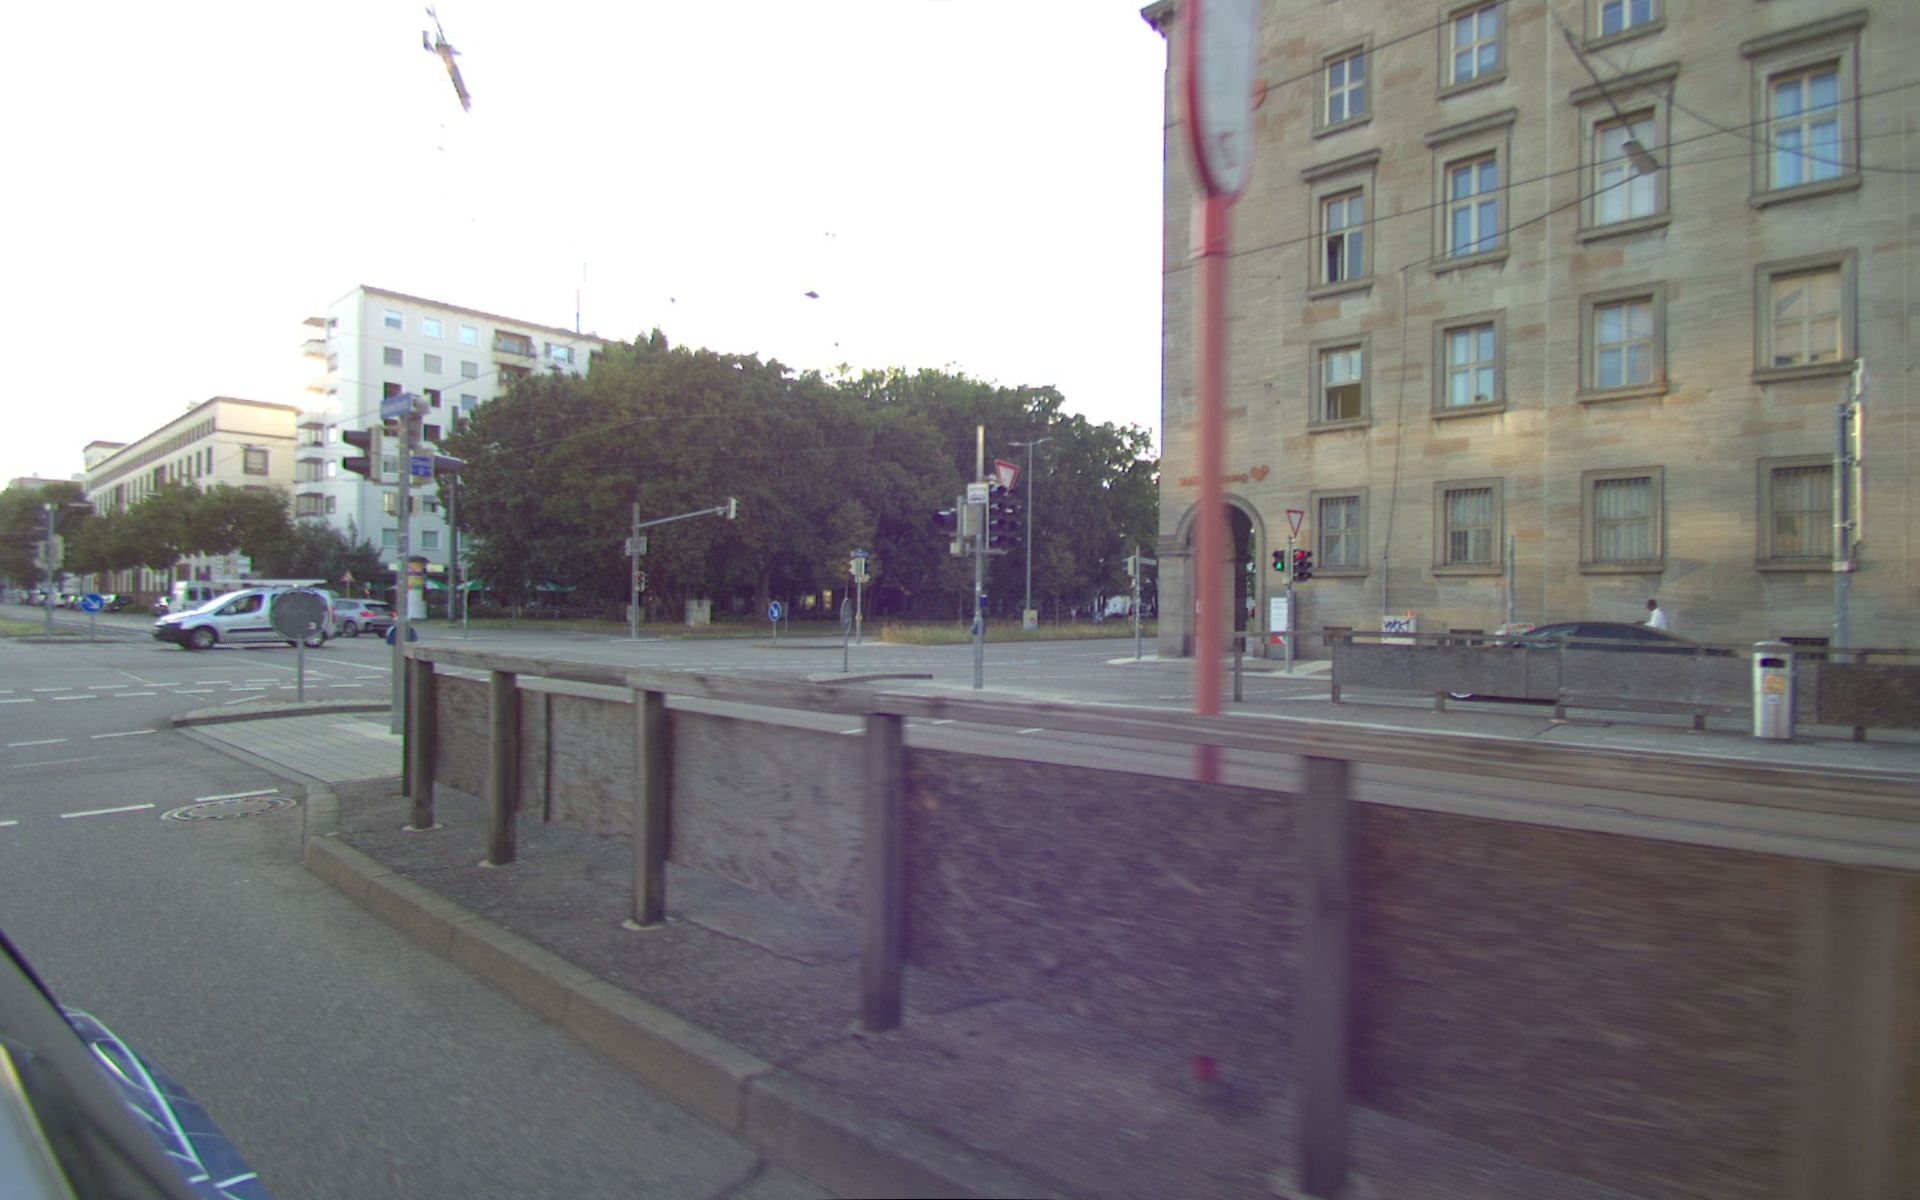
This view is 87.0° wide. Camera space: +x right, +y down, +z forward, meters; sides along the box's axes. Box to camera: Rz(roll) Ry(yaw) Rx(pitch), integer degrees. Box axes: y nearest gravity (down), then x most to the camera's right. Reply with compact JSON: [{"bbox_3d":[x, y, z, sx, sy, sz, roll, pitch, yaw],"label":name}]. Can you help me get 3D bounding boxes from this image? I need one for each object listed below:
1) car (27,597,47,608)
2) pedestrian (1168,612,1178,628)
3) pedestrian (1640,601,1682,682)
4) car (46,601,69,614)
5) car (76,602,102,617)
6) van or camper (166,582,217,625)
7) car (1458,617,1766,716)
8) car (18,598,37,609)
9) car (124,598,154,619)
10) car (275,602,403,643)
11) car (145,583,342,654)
[{"bbox_3d":[-116.062,0.314,127.211,1.698,1.441,3.812,1,-1,-44],"label":"car"},{"bbox_3d":[19.669,1.866,93.457,0.632,1.474,0.637,0,-1,44],"label":"pedestrian"},{"bbox_3d":[15.321,0.898,22.123,0.646,1.723,0.687,0,-1,45],"label":"pedestrian"},{"bbox_3d":[-100.871,0.881,113.105,1.698,1.441,3.812,1,-1,-44],"label":"car"},{"bbox_3d":[-86.368,0.961,100.300,1.698,1.441,3.812,1,-1,-44],"label":"car"},{"bbox_3d":[-52.566,0.272,69.167,4.711,2.702,2.081,-3,-3,44],"label":"van or camper"},{"bbox_3d":[10.999,1.038,17.274,4.231,1.438,1.625,0,-1,42],"label":"car"},{"bbox_3d":[-126.321,0.522,137.103,1.698,1.441,3.812,1,-1,-44],"label":"car"},{"bbox_3d":[-70.332,0.717,86.681,1.698,1.717,3.812,1,-1,-44],"label":"car"},{"bbox_3d":[-26.171,0.936,42.757,4.288,1.676,1.885,1,-1,3],"label":"car"},{"bbox_3d":[-20.907,0.533,29.674,1.805,1.926,4.404,0,-1,41],"label":"car"}]
